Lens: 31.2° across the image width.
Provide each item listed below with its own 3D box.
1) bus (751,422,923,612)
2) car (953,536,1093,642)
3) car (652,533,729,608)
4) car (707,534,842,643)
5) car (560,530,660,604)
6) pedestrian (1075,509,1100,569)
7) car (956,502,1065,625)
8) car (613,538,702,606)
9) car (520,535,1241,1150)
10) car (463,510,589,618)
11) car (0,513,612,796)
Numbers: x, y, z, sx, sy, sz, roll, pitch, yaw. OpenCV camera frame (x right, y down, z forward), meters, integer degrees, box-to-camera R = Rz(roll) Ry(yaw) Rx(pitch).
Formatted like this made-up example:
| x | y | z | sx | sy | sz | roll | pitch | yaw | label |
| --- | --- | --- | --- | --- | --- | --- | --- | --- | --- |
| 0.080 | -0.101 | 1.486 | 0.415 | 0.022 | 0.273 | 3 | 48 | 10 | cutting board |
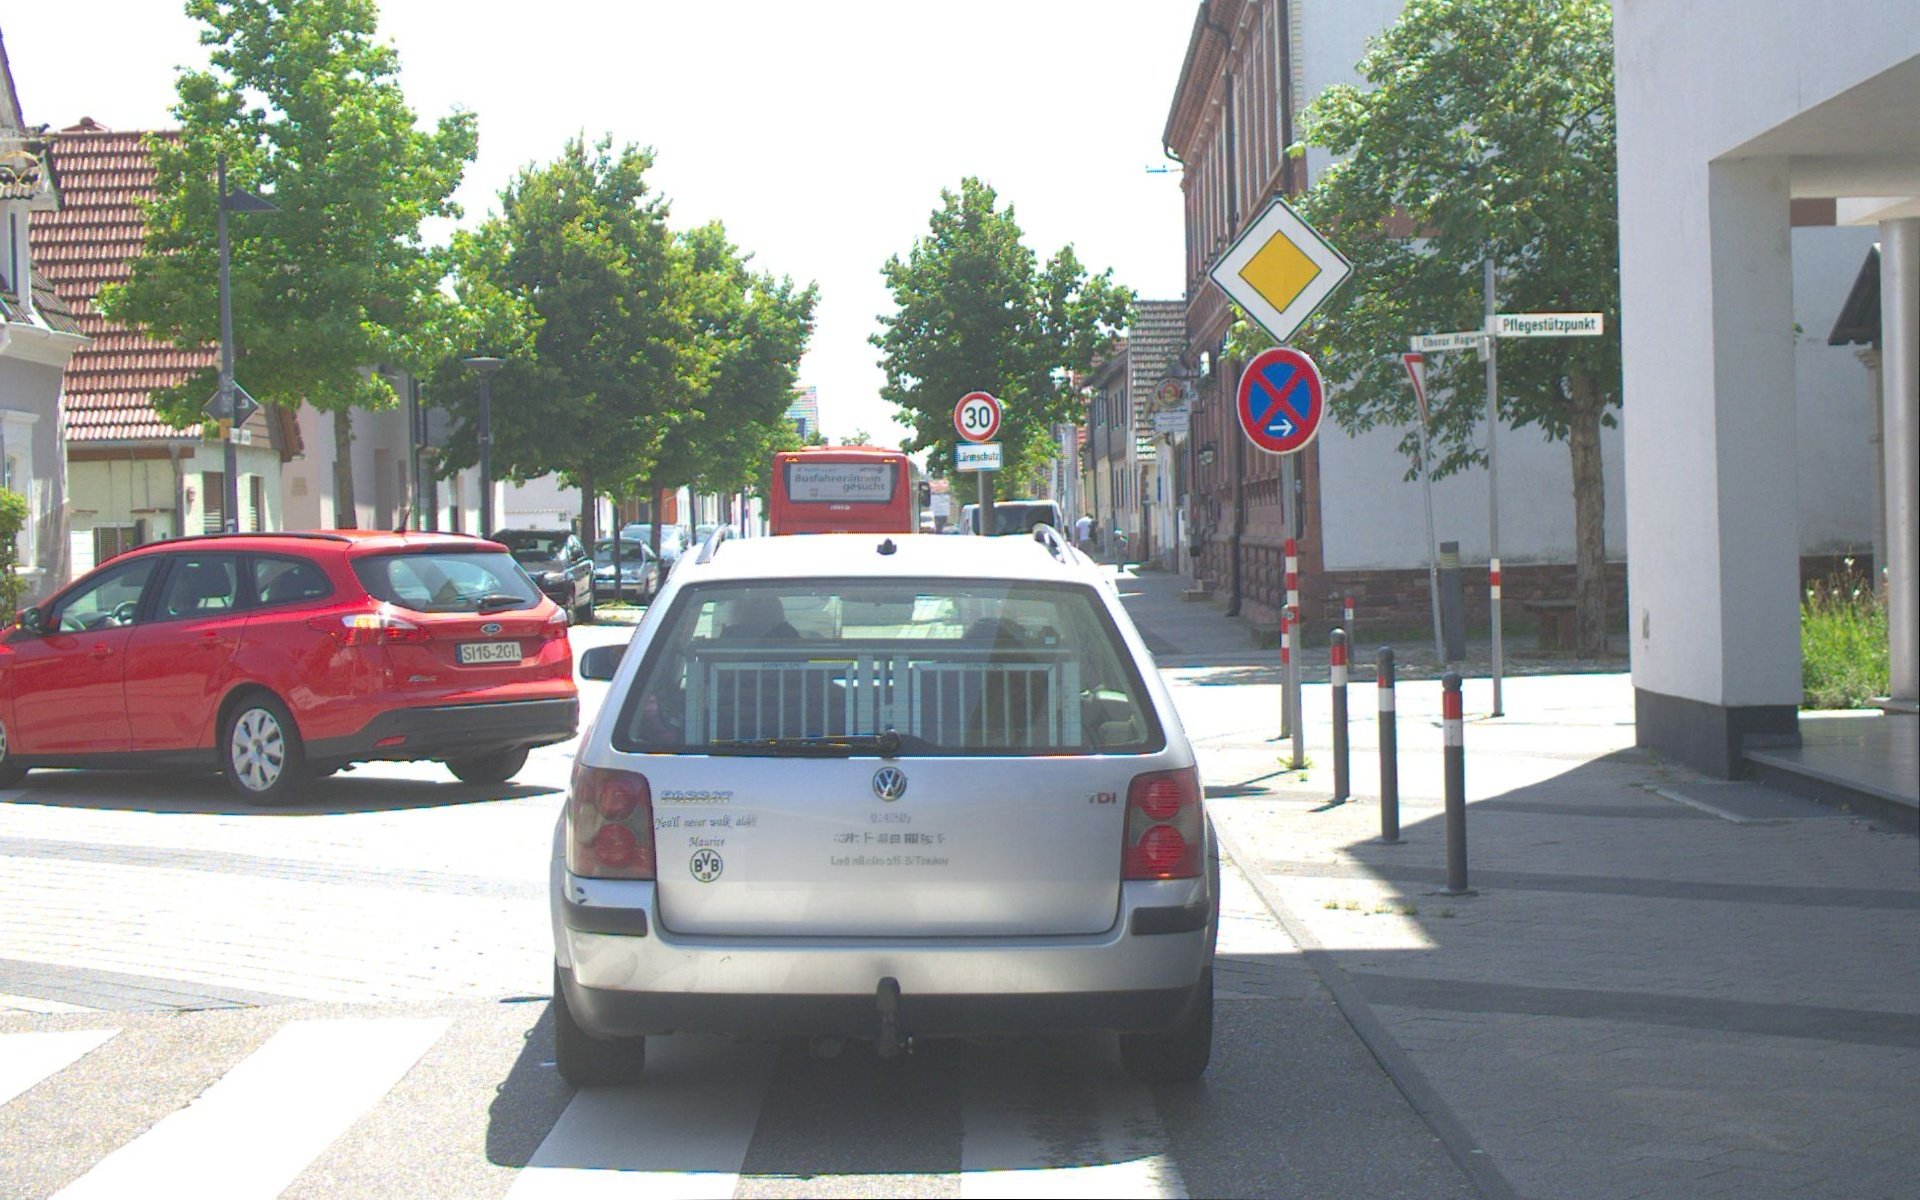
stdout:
| x | y | z | sx | sy | sz | roll | pitch | yaw | label |
| --- | --- | --- | --- | --- | --- | --- | --- | --- | --- |
| -2.226 | -1.547 | 66.578 | 2.740 | 3.287 | 12.705 | -1 | 1 | 0 | bus |
| 0.803 | -0.175 | 45.537 | 1.719 | 1.304 | 3.626 | -1 | 1 | -1 | car |
| -7.468 | -0.840 | 95.456 | 1.811 | 1.989 | 4.000 | -1 | 1 | 0 | car |
| -2.512 | -0.188 | 47.176 | 1.593 | 1.425 | 3.679 | 0 | 1 | 1 | car |
| -7.789 | -0.757 | 76.717 | 1.811 | 1.553 | 4.000 | -1 | 1 | 0 | car |
| 3.551 | -1.694 | 96.038 | 0.606 | 1.661 | 0.789 | -1 | 1 | -2 | pedestrian |
| 0.864 | -0.658 | 60.803 | 1.788 | 2.075 | 3.626 | -1 | 1 | -1 | car |
| -7.302 | -0.702 | 83.308 | 1.811 | 1.553 | 4.000 | -1 | 1 | 0 | car |
| -0.194 | 0.534 | 9.880 | 1.677 | 1.425 | 3.680 | 0 | 1 | 0 | car |
| -7.778 | -0.665 | 61.854 | 1.764 | 1.831 | 3.789 | -1 | 1 | 0 | car |
| -3.877 | 0.277 | 19.457 | 3.676 | 1.425 | 1.678 | -1 | 1 | 40 | car |
